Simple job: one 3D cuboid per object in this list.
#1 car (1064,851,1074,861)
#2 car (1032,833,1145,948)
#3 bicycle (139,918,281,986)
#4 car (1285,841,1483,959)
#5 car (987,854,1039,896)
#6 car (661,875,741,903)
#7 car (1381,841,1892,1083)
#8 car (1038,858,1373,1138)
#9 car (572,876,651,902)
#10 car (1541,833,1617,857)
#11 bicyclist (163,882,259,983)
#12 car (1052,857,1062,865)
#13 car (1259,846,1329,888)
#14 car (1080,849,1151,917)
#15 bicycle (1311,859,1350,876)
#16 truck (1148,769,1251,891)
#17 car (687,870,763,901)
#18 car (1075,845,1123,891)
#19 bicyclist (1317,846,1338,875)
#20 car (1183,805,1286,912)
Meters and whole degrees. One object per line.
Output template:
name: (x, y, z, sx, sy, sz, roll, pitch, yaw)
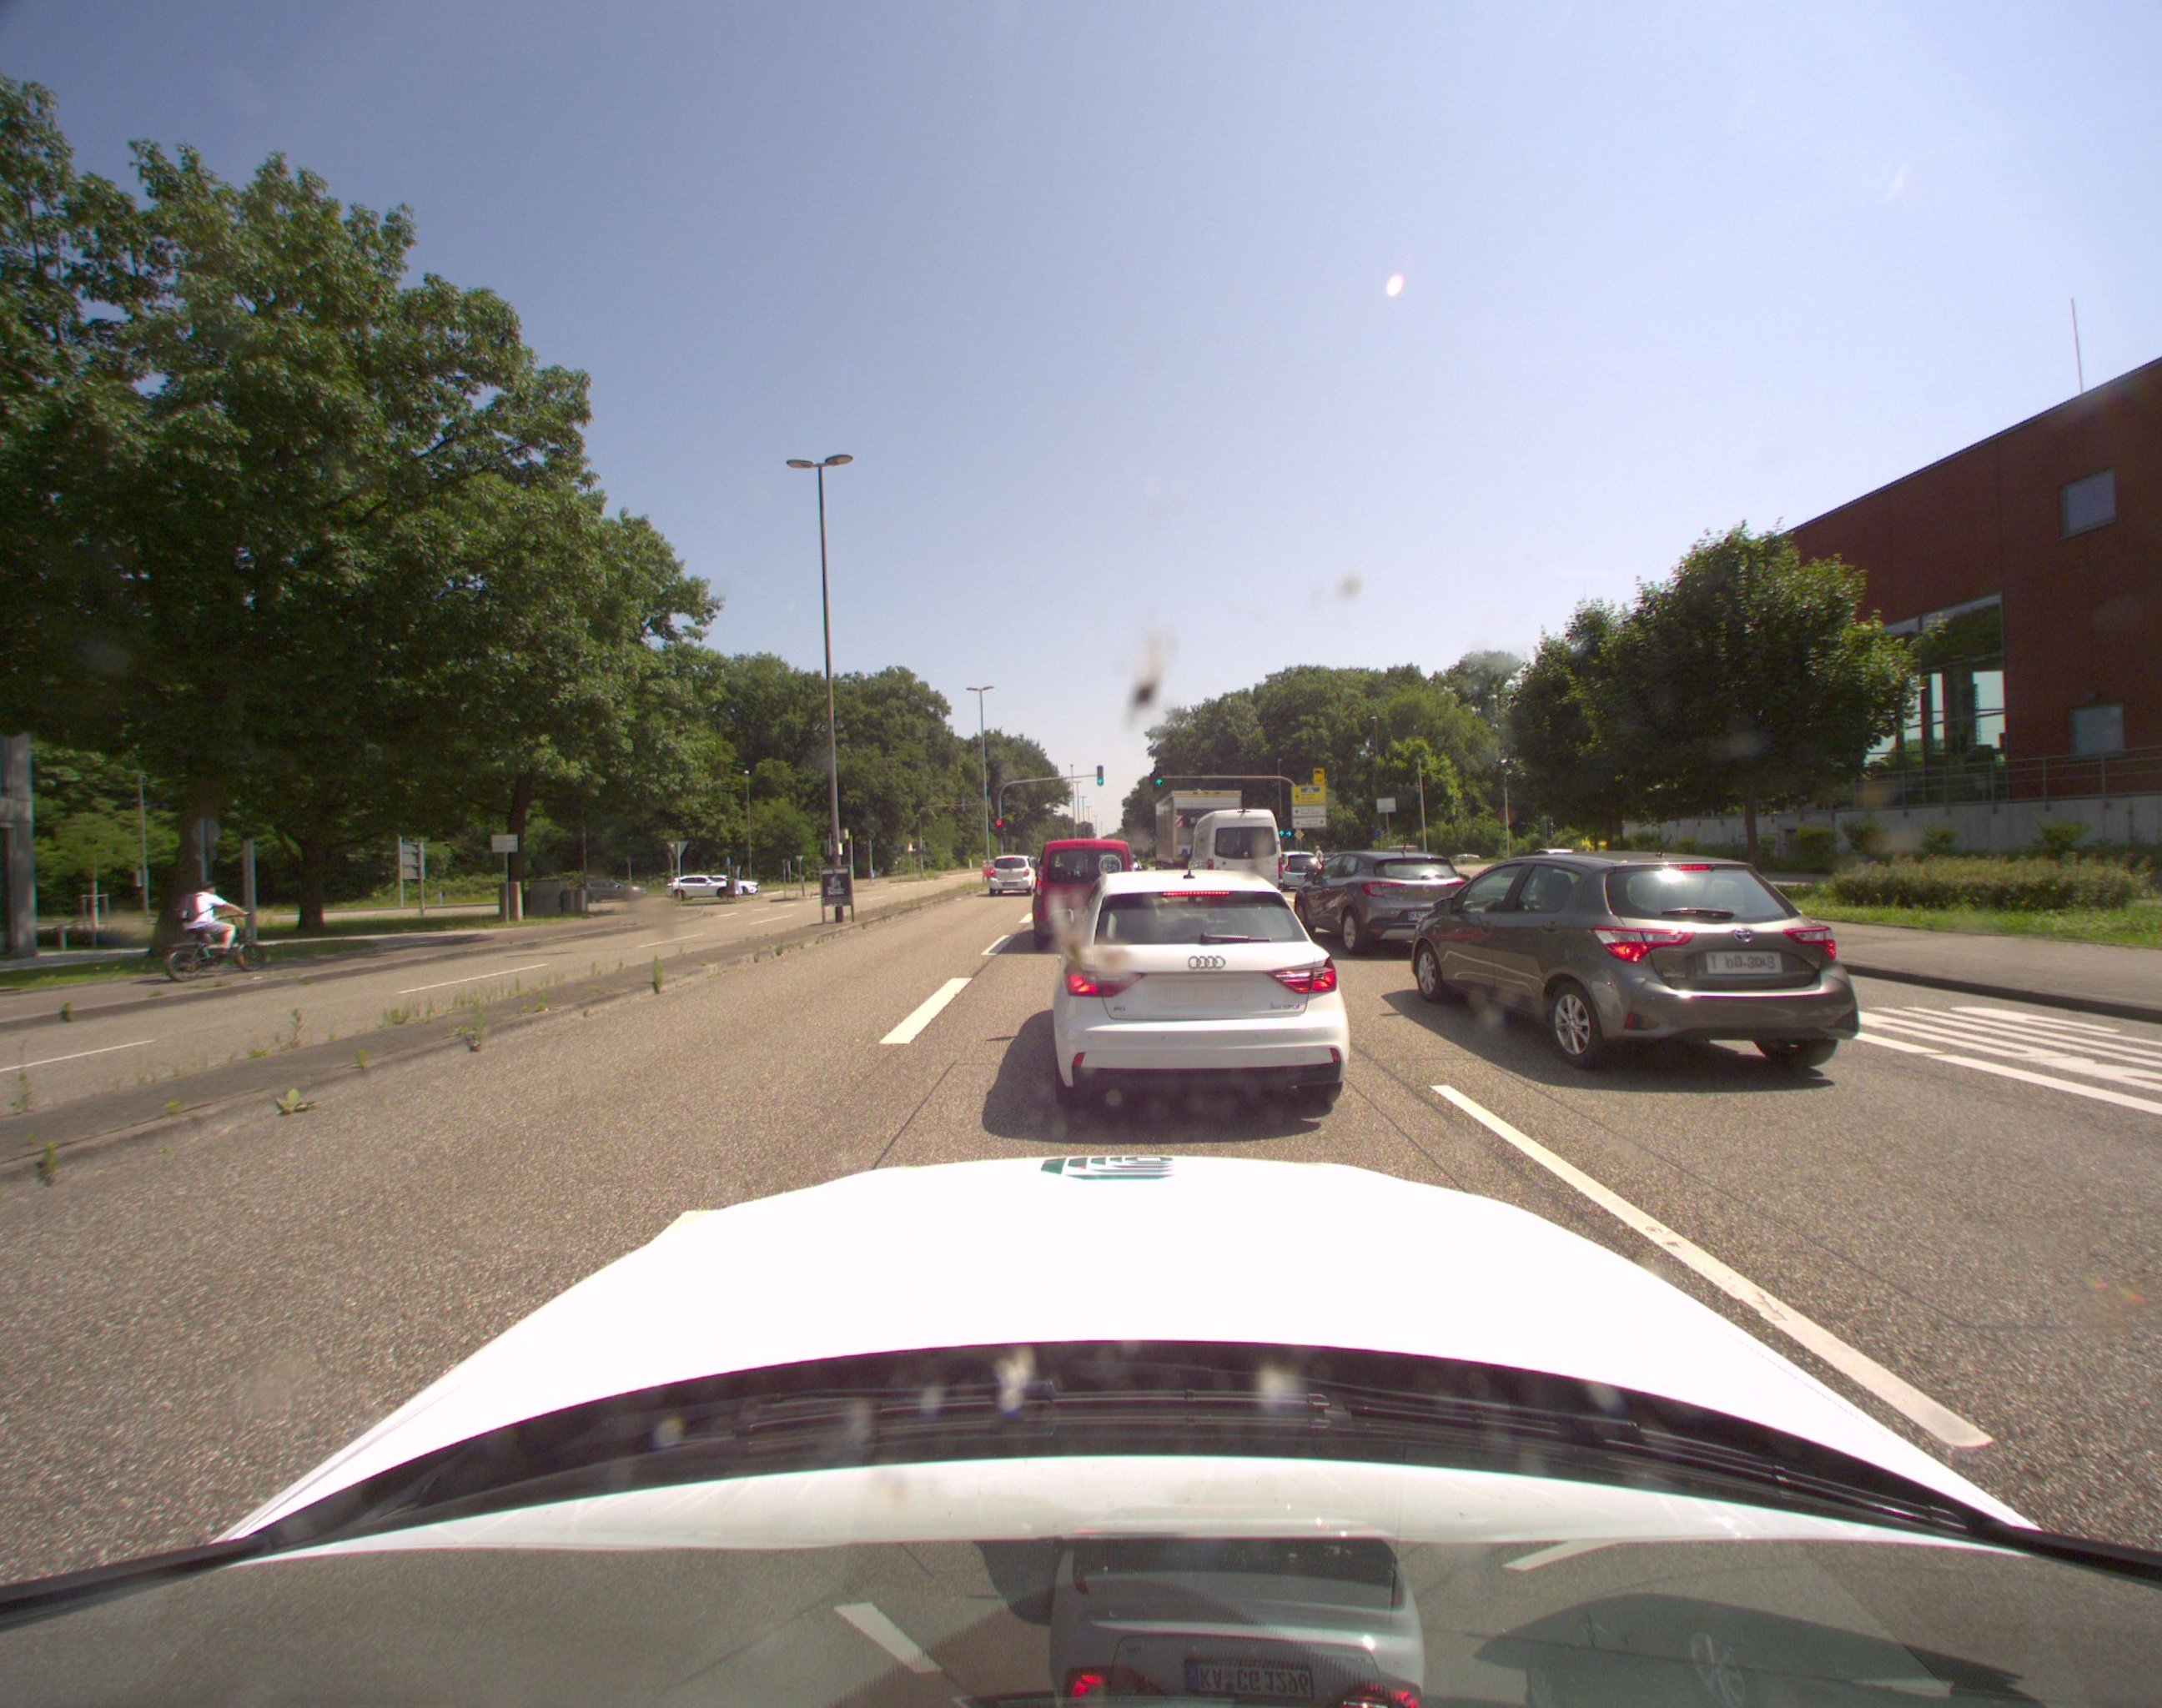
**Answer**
car: (-2.468, 0.440, 171.901, 1.866, 1.861, 4.000, -2, 0, 1)
car: (0.119, 0.563, 14.661, 1.706, 1.748, 4.091, -1, 0, 0)
bicycle: (-15.040, 1.663, 14.132, 0.615, 0.969, 1.661, -2, 0, 2)
car: (4.712, 0.638, 13.342, 1.706, 1.593, 4.091, -1, 0, 0)
car: (-2.627, 0.780, 32.268, 1.706, 1.493, 4.091, -1, 0, 0)
car: (-24.852, 2.278, 53.369, 4.366, 1.681, 1.806, 0, -1, -7)
car: (4.251, 0.683, 7.167, 1.706, 1.478, 4.091, 1, 0, 0)
car: (0.650, 0.753, 6.260, 1.706, 1.386, 4.091, -1, 0, 0)
car: (-32.563, 2.430, 56.556, 4.370, 1.681, 1.804, 0, -1, -10)
car: (36.399, -0.644, 59.614, 4.455, 1.530, 1.798, -2, 0, 1)
bicyclist: (-15.052, 1.327, 14.112, 0.605, 1.630, 0.924, -2, 0, 1)
car: (-5.235, 1.467, 176.288, 1.824, 1.728, 4.001, -2, 0, 1)
car: (8.434, 0.480, 32.553, 1.706, 1.546, 4.091, -1, 0, 0)
car: (0.850, 0.710, 22.004, 1.706, 1.631, 4.091, -1, 0, 0)
bicycle: (12.925, 0.692, 42.245, 1.819, 0.766, 0.599, -2, 0, -7)
truck: (4.823, -0.897, 35.669, 3.077, 4.434, 11.584, -1, 0, 2)
car: (-24.939, 2.187, 57.193, 4.367, 1.681, 1.806, -6, 0, -7)
car: (0.670, 0.515, 31.831, 1.706, 1.631, 4.091, -1, 0, 0)
bicyclist: (12.765, 0.344, 42.231, 0.825, 1.439, 0.598, -2, 0, -6)
car: (4.189, 0.112, 22.994, 2.024, 2.644, 4.845, -1, 0, 1)
